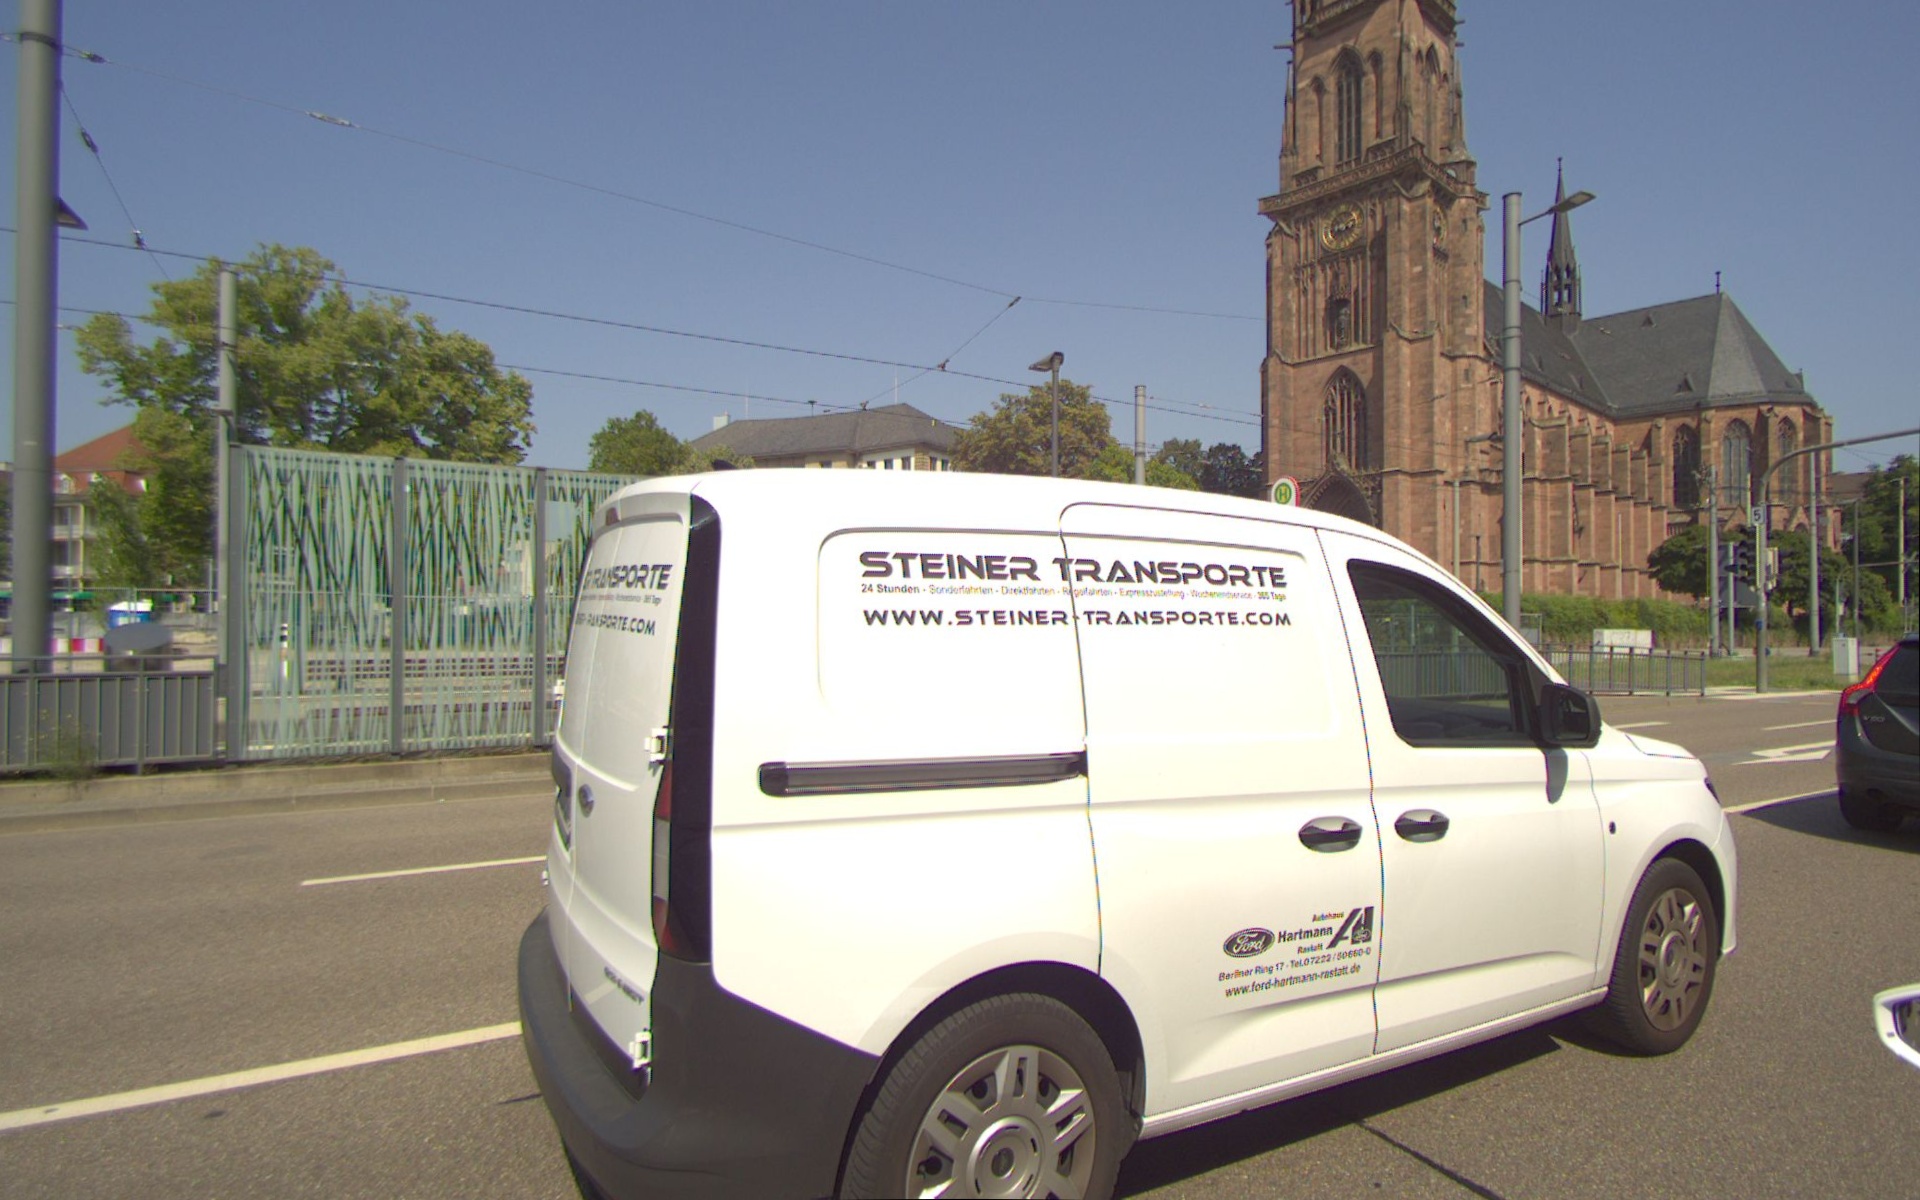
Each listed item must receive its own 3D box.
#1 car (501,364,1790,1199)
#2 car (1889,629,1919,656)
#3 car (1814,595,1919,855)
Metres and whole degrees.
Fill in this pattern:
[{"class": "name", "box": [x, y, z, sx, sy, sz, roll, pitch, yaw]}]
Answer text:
[{"class": "car", "box": [0.832, 0.589, 3.402, 4.190, 1.844, 1.739, 1, 0, -31]}, {"class": "car", "box": [52.096, 2.310, 54.917, 4.543, 1.454, 1.729, 2, -3, -45]}, {"class": "car", "box": [8.042, 0.821, 7.119, 4.258, 1.636, 1.739, 1, 0, -31]}]
